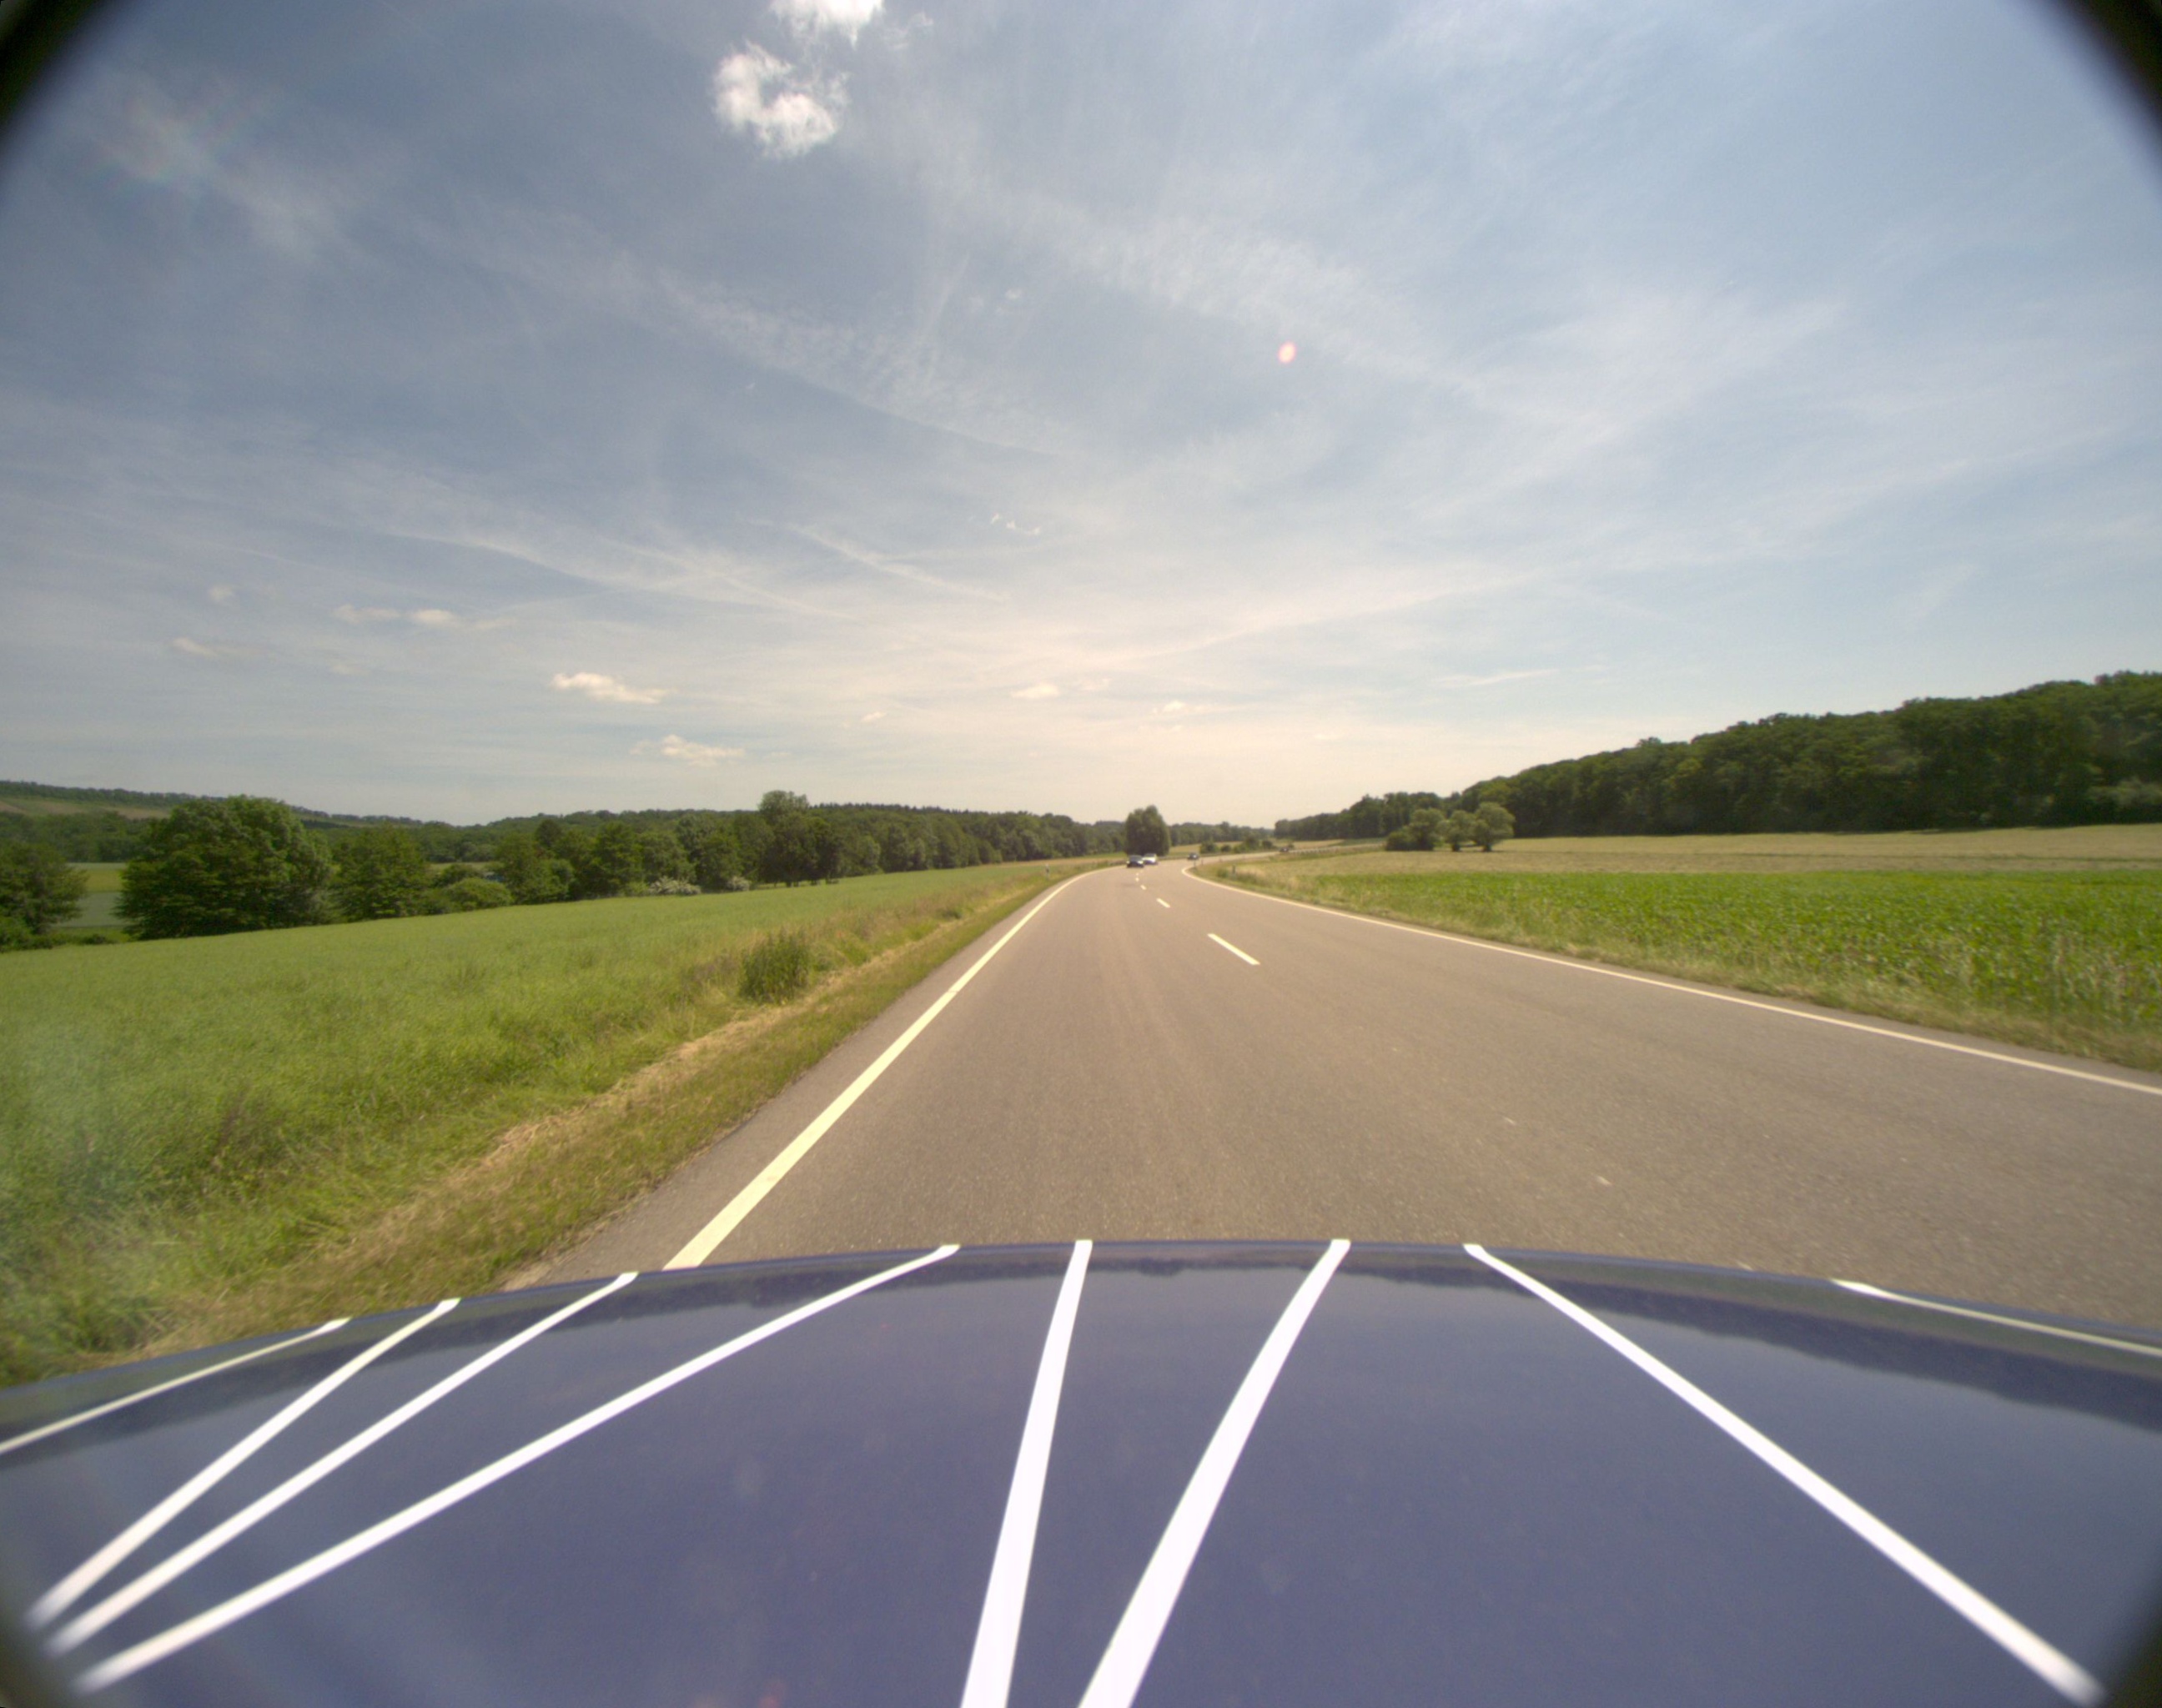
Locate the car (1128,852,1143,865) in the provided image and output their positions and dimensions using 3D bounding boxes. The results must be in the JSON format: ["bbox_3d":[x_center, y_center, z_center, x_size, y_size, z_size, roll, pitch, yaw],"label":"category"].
[{"bbox_3d":[6.269,0.530,86.758,1.621,1.428,3.444,0,1,6],"label":"car"}]

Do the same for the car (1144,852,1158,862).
[{"bbox_3d":[9.672,0.386,105.034,1.620,1.428,3.446,-1,0,11],"label":"car"}]

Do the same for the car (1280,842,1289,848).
[{"bbox_3d":[59.333,-2.649,221.547,1.618,1.429,3.449,1,3,35],"label":"car"}]

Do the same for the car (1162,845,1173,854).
[{"bbox_3d":[15.837,-0.830,139.495,1.620,1.429,3.445,-1,2,13],"label":"car"}]
